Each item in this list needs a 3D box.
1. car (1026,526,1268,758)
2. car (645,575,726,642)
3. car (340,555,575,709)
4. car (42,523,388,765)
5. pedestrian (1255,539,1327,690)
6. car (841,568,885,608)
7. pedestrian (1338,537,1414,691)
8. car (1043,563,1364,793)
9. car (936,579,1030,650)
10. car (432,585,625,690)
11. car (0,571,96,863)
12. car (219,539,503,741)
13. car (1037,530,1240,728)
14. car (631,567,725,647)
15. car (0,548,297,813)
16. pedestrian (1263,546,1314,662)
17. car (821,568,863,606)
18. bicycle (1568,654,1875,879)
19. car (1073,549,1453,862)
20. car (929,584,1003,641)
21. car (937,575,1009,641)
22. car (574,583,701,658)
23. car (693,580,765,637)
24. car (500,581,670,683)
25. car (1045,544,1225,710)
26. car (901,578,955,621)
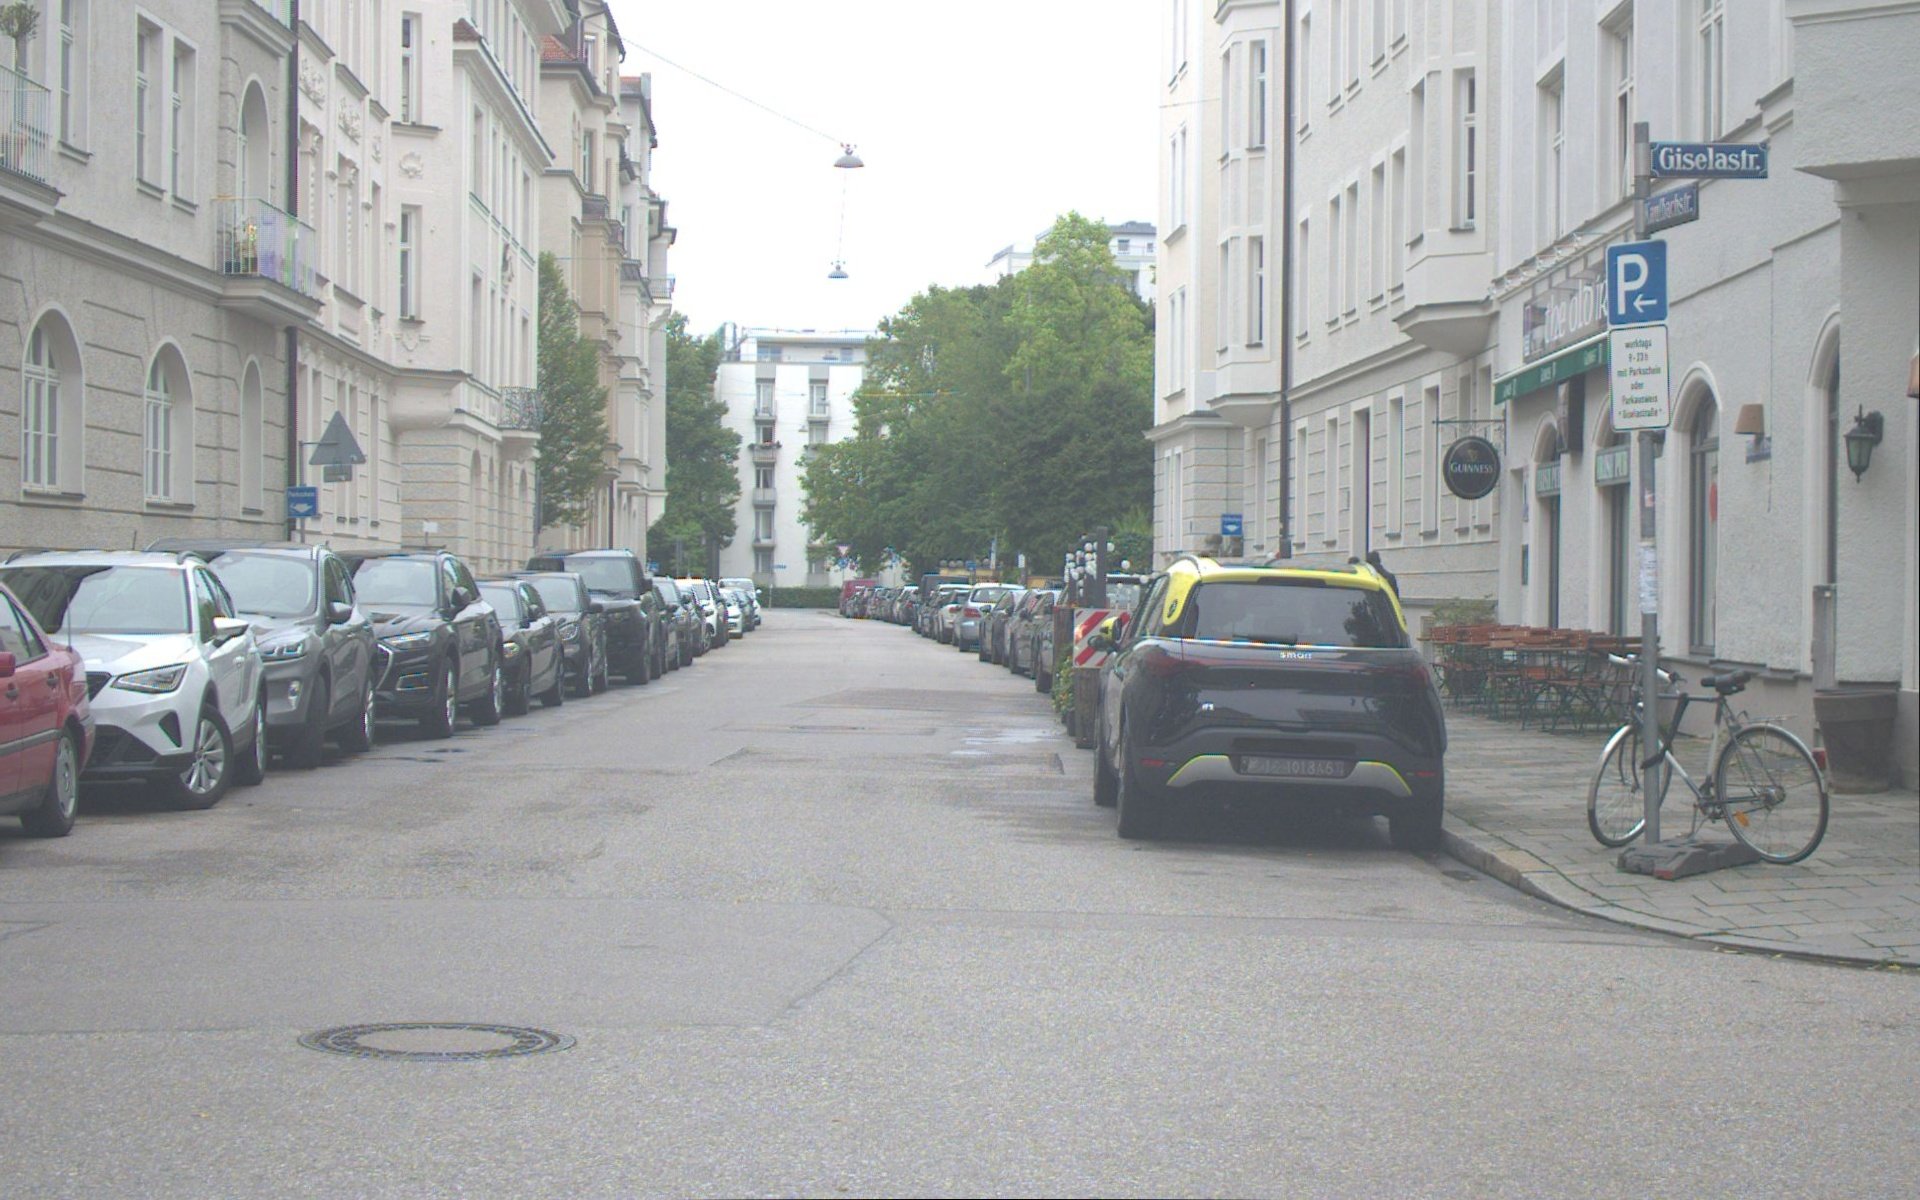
[{"bbox_3d":[1.615,0.335,31.096,1.820,1.864,4.289,3,0,-1],"label":"car"},{"bbox_3d":[-6.134,0.176,77.164,1.733,1.415,4.001,1,1,-4],"label":"car"},{"bbox_3d":[-5.377,0.306,37.274,1.925,1.541,4.000,1,1,0],"label":"car"},{"bbox_3d":[-5.551,0.290,26.092,1.993,1.670,4.013,1,1,-4],"label":"car"},{"bbox_3d":[4.102,0.168,42.619,0.778,1.845,1.023,1,1,0],"label":"pedestrian"},{"bbox_3d":[-4.929,-0.621,174.338,1.993,1.975,4.894,1,1,-4],"label":"car"},{"bbox_3d":[5.074,0.163,41.956,0.778,1.845,1.023,1,1,0],"label":"pedestrian"},{"bbox_3d":[1.730,0.515,25.942,1.976,1.493,4.637,3,0,-1],"label":"car"},{"bbox_3d":[0.502,0.312,79.093,1.906,1.571,4.000,1,1,-3],"label":"car"},{"bbox_3d":[-5.375,0.440,43.239,1.906,1.218,4.000,1,1,0],"label":"car"},{"bbox_3d":[-5.404,0.549,16.235,1.730,1.373,4.227,1,1,-2],"label":"car"},{"bbox_3d":[-5.308,0.314,30.983,1.993,1.670,4.289,1,1,-3],"label":"car"},{"bbox_3d":[1.848,0.275,36.759,1.820,1.917,4.183,3,0,-1],"label":"car"},{"bbox_3d":[-5.812,0.123,71.209,1.820,1.568,4.001,1,1,-3],"label":"car"},{"bbox_3d":[-5.308,0.424,21.263,1.993,1.468,4.219,1,1,-6],"label":"car"},{"bbox_3d":[5.341,0.057,55.783,0.778,1.845,0.859,1,1,7],"label":"pedestrian"},{"bbox_3d":[-6.385,-0.710,185.525,1.993,1.975,4.894,1,1,-4],"label":"car"},{"bbox_3d":[3.803,0.810,17.305,0.539,0.995,1.756,-3,2,-24],"label":"bicycle"},{"bbox_3d":[1.731,0.562,20.987,1.820,1.630,4.289,3,0,-1],"label":"car"},{"bbox_3d":[0.137,0.302,89.818,1.729,1.413,3.852,1,1,-3],"label":"car"},{"bbox_3d":[0.372,0.237,107.894,1.993,1.975,4.893,1,1,-2],"label":"car"},{"bbox_3d":[-5.558,0.334,59.632,1.906,1.218,4.000,1,1,-2],"label":"car"},{"bbox_3d":[-6.574,0.228,98.313,1.993,1.568,4.001,1,1,-3],"label":"car"},{"bbox_3d":[-5.175,0.415,47.890,1.906,1.324,4.000,1,1,0],"label":"car"},{"bbox_3d":[2.042,0.280,41.218,1.993,1.850,4.345,1,1,1],"label":"car"},{"bbox_3d":[-1.268,-0.018,134.980,1.950,1.646,4.000,-1,0,-3],"label":"car"}]
